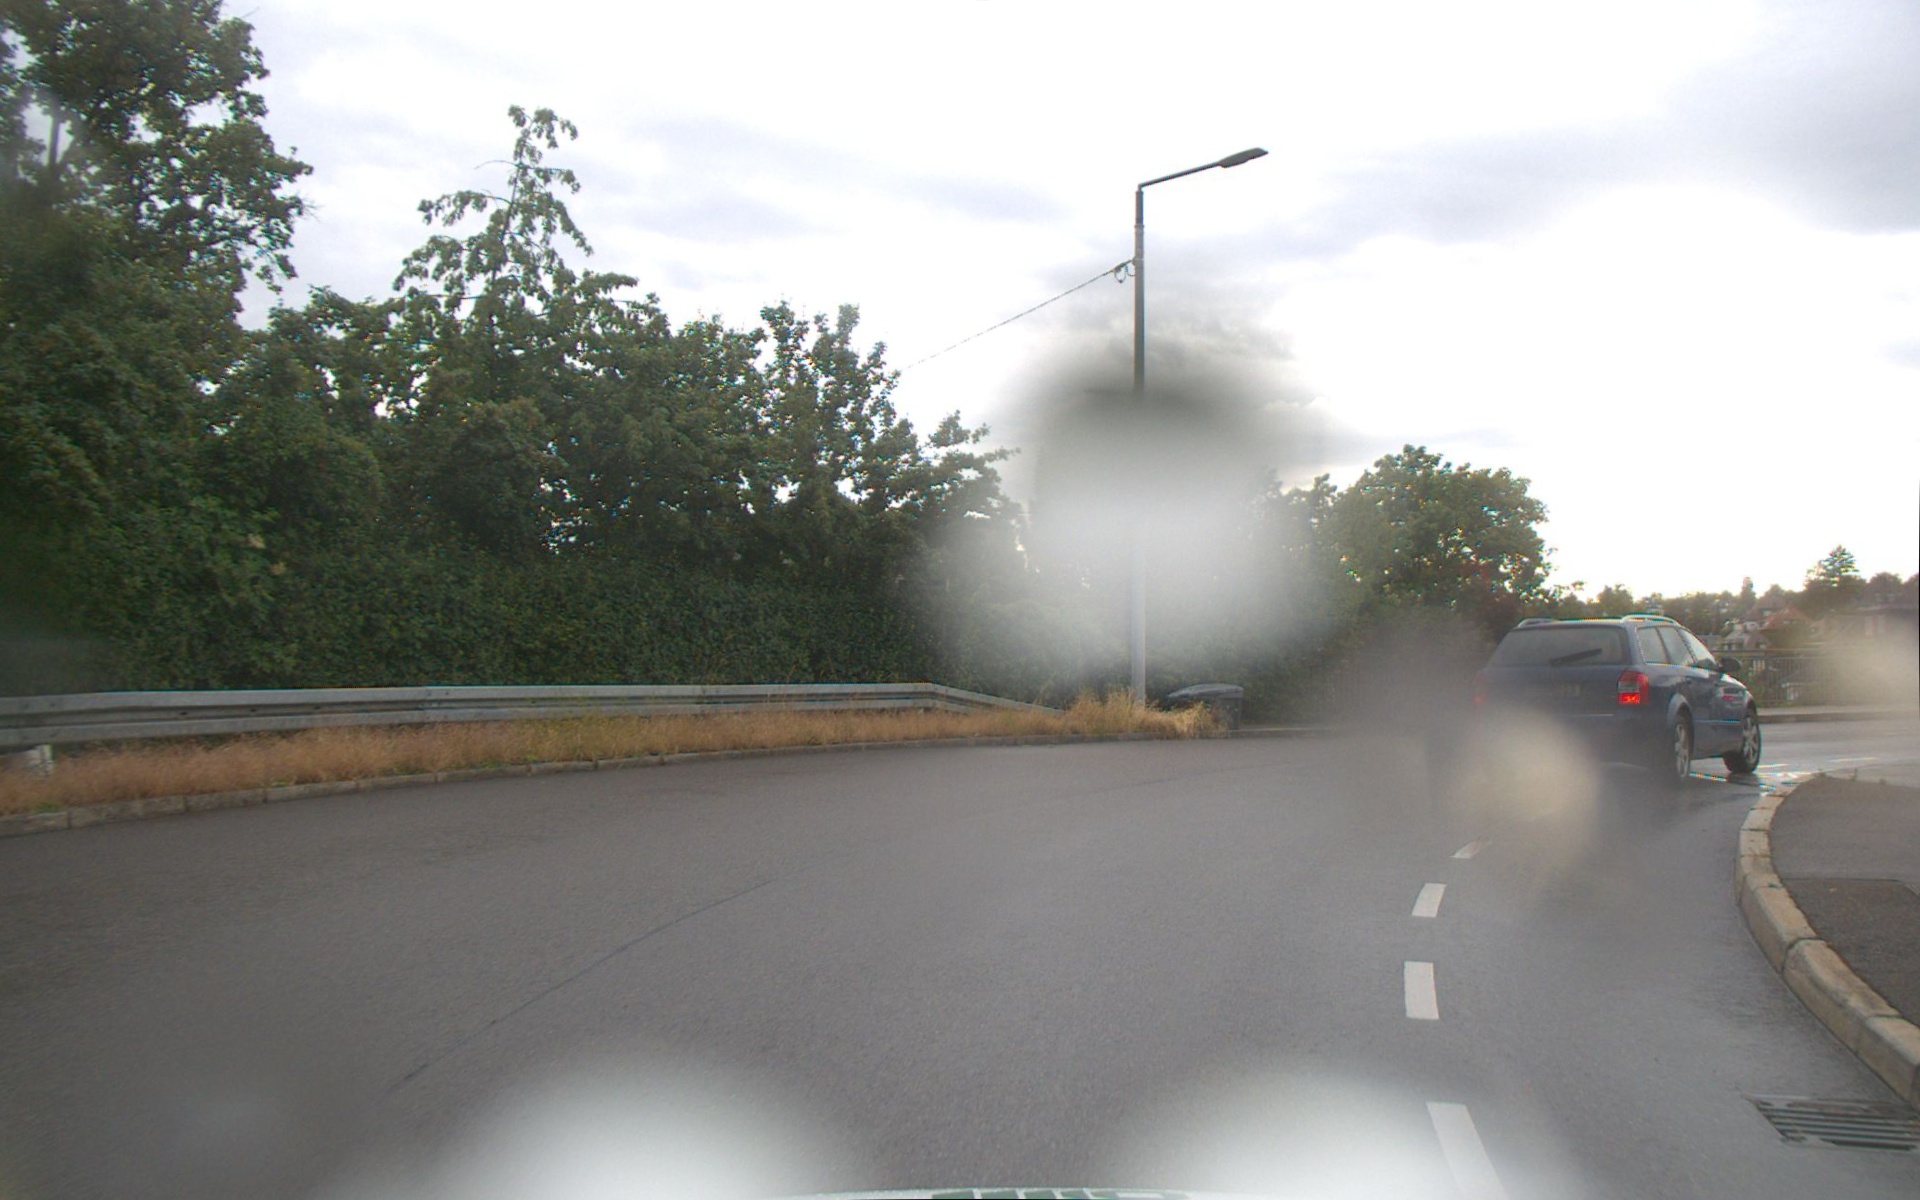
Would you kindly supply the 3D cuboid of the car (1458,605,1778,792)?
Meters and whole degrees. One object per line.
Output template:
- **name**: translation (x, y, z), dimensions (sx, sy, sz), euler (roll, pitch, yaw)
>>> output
- **car**: translation (6.172, 0.790, 15.269), dimensions (1.719, 1.432, 3.982), euler (0, 1, 38)
